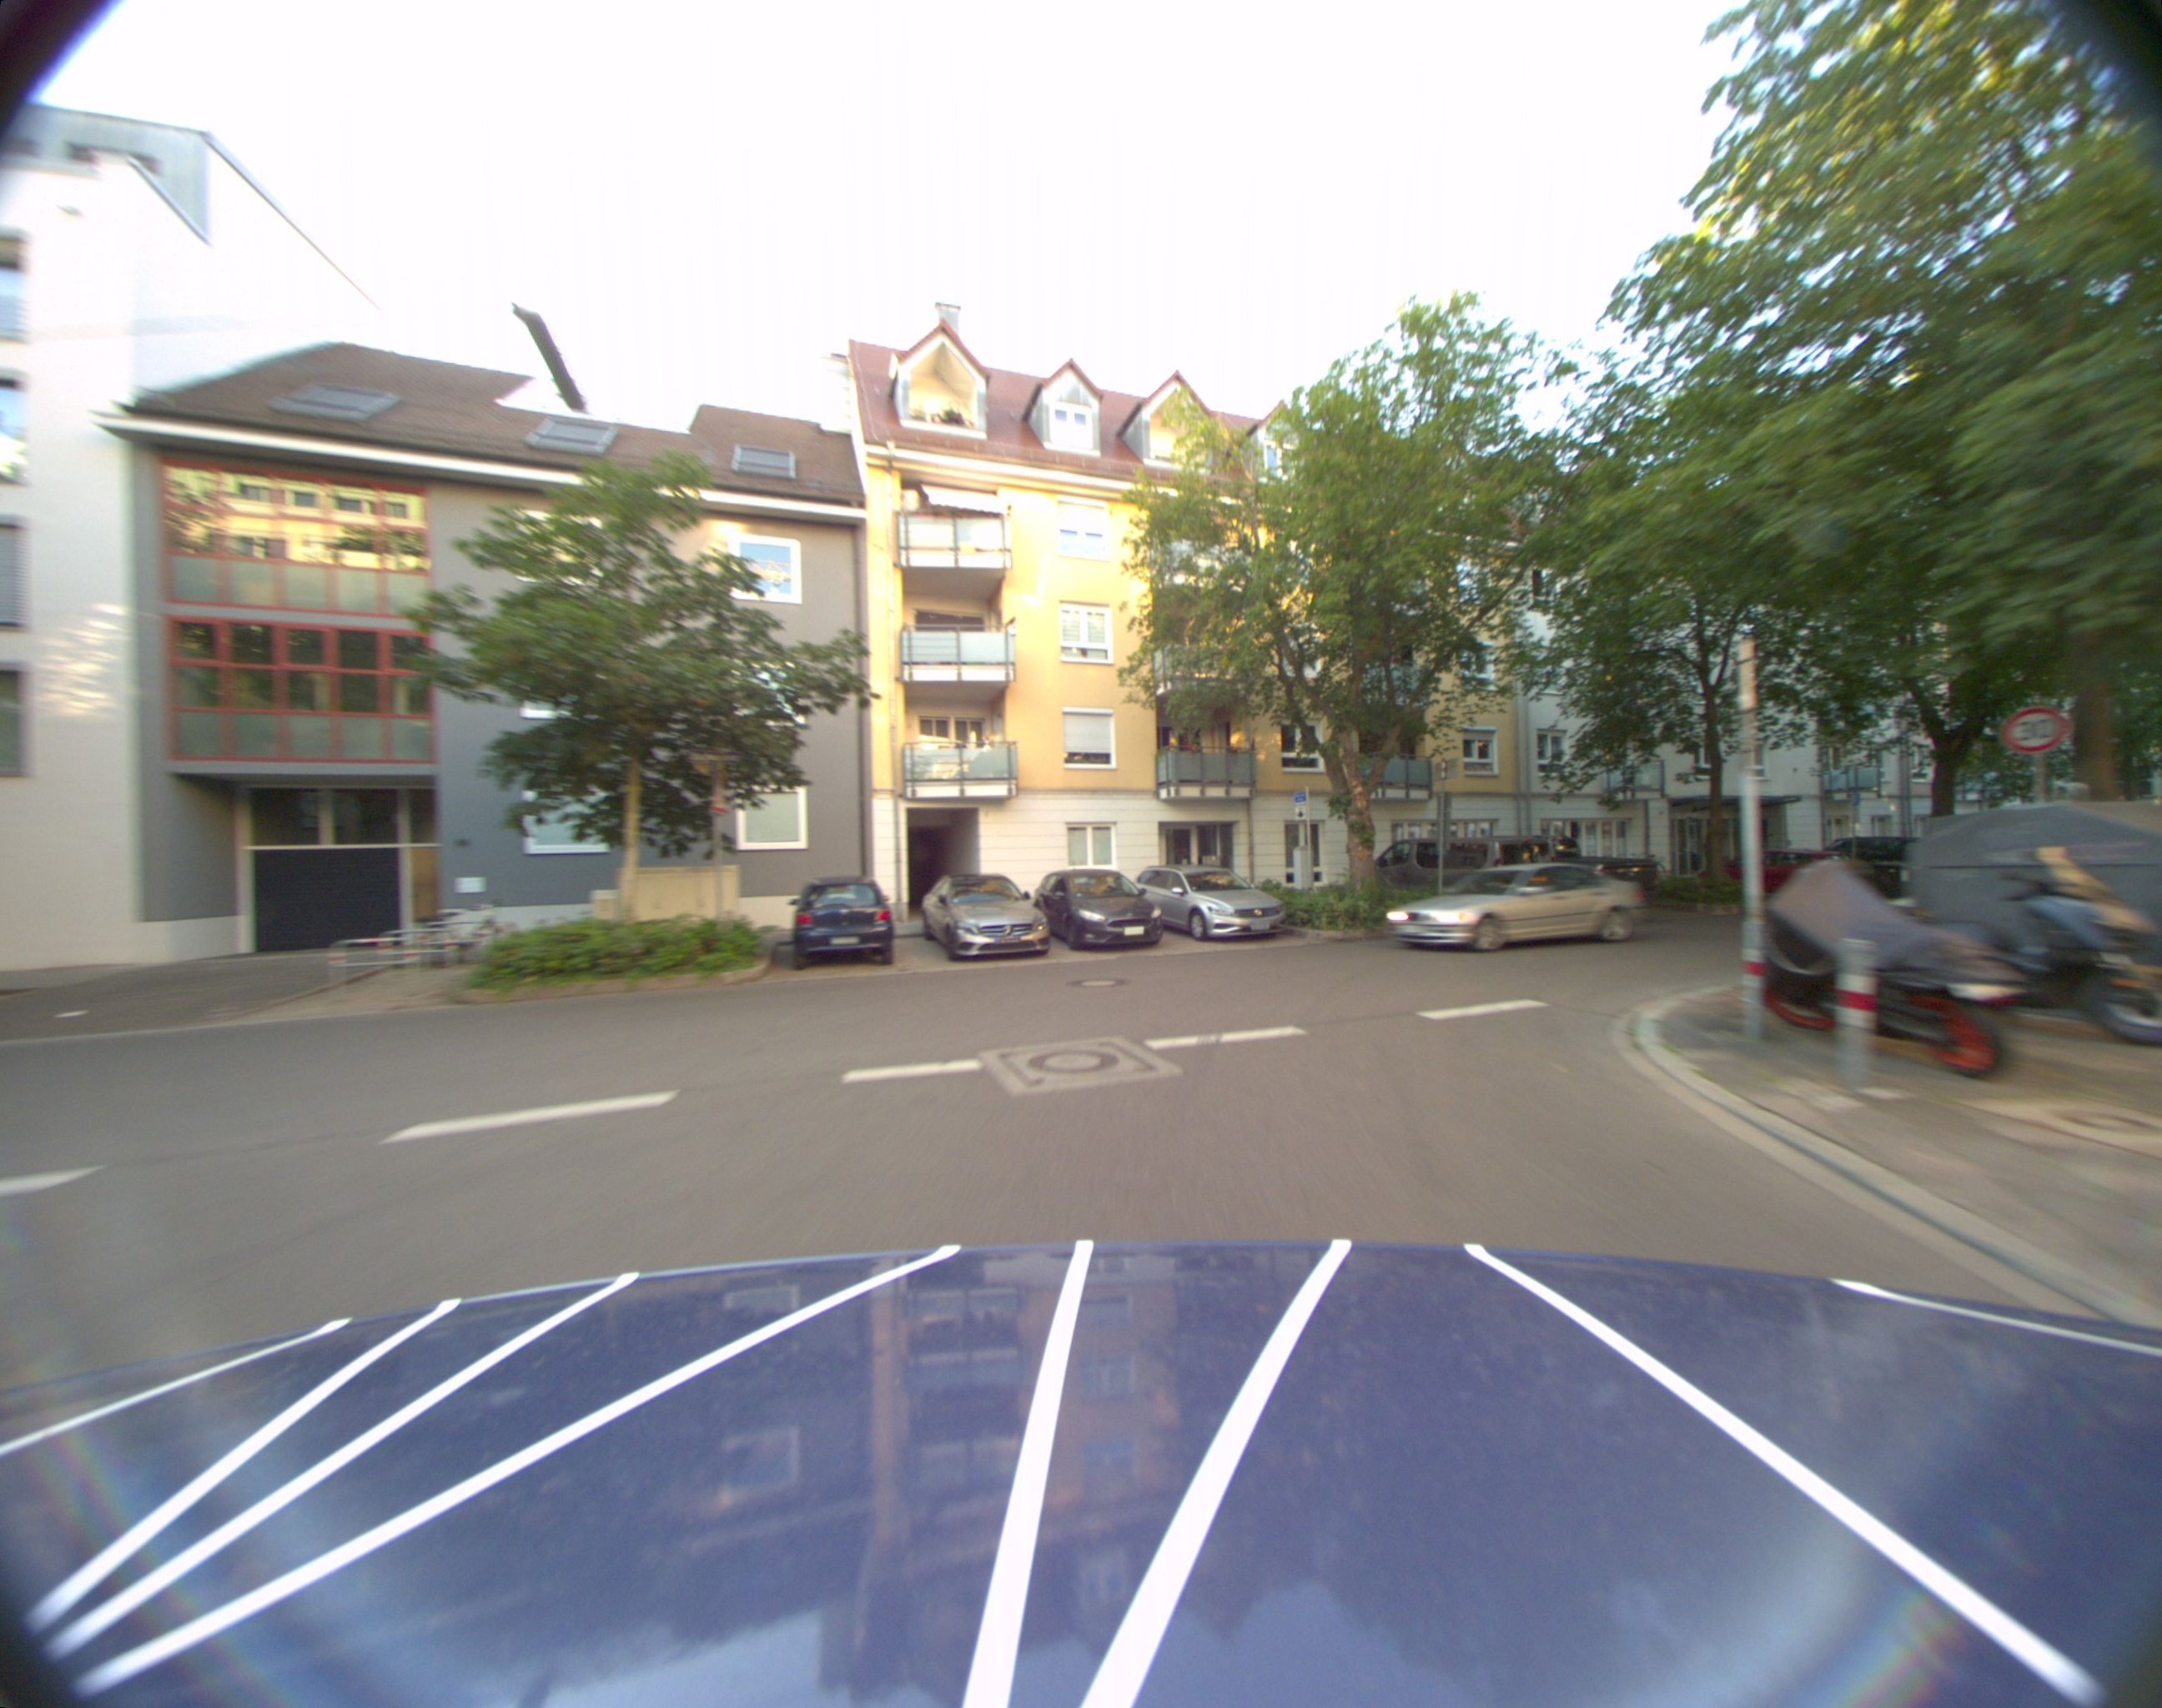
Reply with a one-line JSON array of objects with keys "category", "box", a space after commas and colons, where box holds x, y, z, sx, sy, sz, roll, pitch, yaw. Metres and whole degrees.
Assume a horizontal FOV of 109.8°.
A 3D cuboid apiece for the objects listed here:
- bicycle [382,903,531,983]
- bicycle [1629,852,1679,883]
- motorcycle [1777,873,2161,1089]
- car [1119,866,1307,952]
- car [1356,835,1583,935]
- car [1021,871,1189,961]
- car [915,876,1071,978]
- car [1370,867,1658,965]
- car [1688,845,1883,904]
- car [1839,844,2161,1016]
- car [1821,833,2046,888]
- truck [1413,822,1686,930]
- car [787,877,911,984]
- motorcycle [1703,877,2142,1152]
[{"category": "bicycle", "box": [-10.937, 1.533, 13.380, 1.804, 1.228, 0.829, -2, 0, -15]}, {"category": "bicycle", "box": [20.272, 0.463, 26.869, 1.883, 1.031, 0.424, -2, 1, -19]}, {"category": "motorcycle", "box": [7.434, 0.885, 6.183, 0.911, 1.411, 2.457, -2, 0, -17]}, {"category": "car", "box": [2.671, 1.062, 16.669, 1.963, 1.494, 4.628, -2, 1, -21]}, {"category": "car", "box": [9.196, 0.662, 18.498, 2.199, 2.054, 4.607, -2, 0, -20]}, {"category": "car", "box": [0.276, 1.148, 15.909, 1.992, 1.511, 4.792, -2, -1, -18]}, {"category": "car", "box": [-1.907, 1.264, 14.895, 2.013, 1.562, 4.630, -2, -1, -19]}, {"category": "car", "box": [7.382, 0.970, 13.029, 4.335, 1.363, 1.736, -2, 0, -16]}, {"category": "car", "box": [20.845, 0.593, 22.681, 1.879, 1.535, 3.783, -2, -1, -20]}, {"category": "car", "box": [10.850, 0.683, 7.267, 2.076, 1.543, 4.628, -2, -1, -17]}, {"category": "car", "box": [28.676, 0.133, 25.794, 2.012, 1.609, 4.646, -2, 3, -23]}, {"category": "truck", "box": [11.635, 0.511, 19.589, 2.214, 2.297, 5.898, -2, 0, -18]}, {"category": "car", "box": [-4.241, 1.243, 13.739, 1.833, 1.555, 3.545, -2, 0, -19]}, {"category": "motorcycle", "box": [5.504, 0.913, 5.276, 0.851, 1.411, 2.256, -2, 0, 12]}]
